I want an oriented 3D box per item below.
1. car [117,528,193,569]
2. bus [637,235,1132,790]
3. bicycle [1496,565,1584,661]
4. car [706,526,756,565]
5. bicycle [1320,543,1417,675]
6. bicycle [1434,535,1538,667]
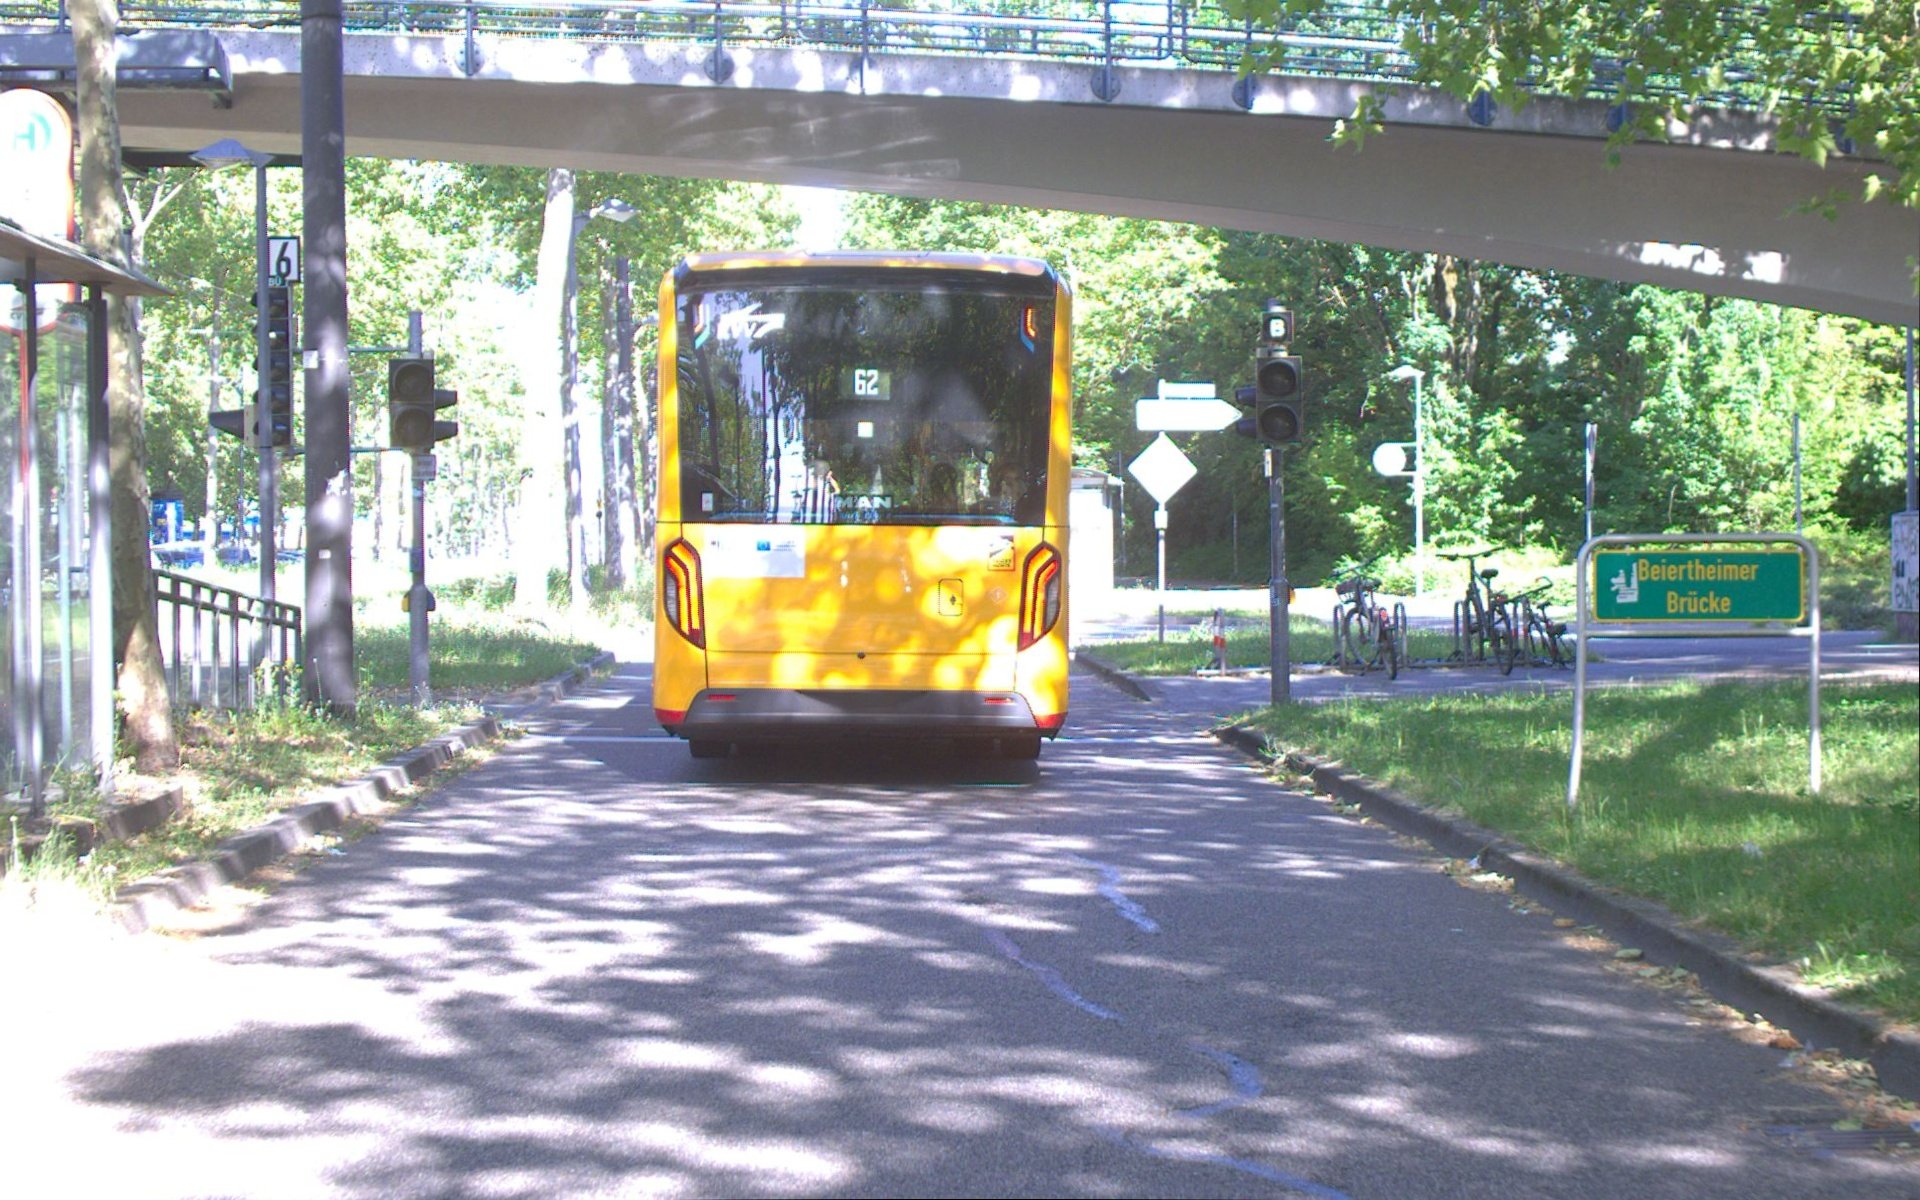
[{"bbox_3d":[-29.944,-1.922,127.979,1.794,1.505,4.000,-1,1,2],"label":"car"},{"bbox_3d":[-0.705,-0.641,26.412,2.899,3.255,12.219,0,1,-2],"label":"bus"},{"bbox_3d":[5.655,0.113,33.551,0.505,0.849,1.474,-4,2,-2],"label":"bicycle"},{"bbox_3d":[-10.534,-2.508,158.072,1.986,1.637,4.134,2,2,0],"label":"car"},{"bbox_3d":[3.943,0.068,33.279,0.590,1.178,1.800,-4,2,-2],"label":"bicycle"},{"bbox_3d":[5.089,-0.007,33.344,0.590,1.178,1.800,-4,2,-2],"label":"bicycle"}]
